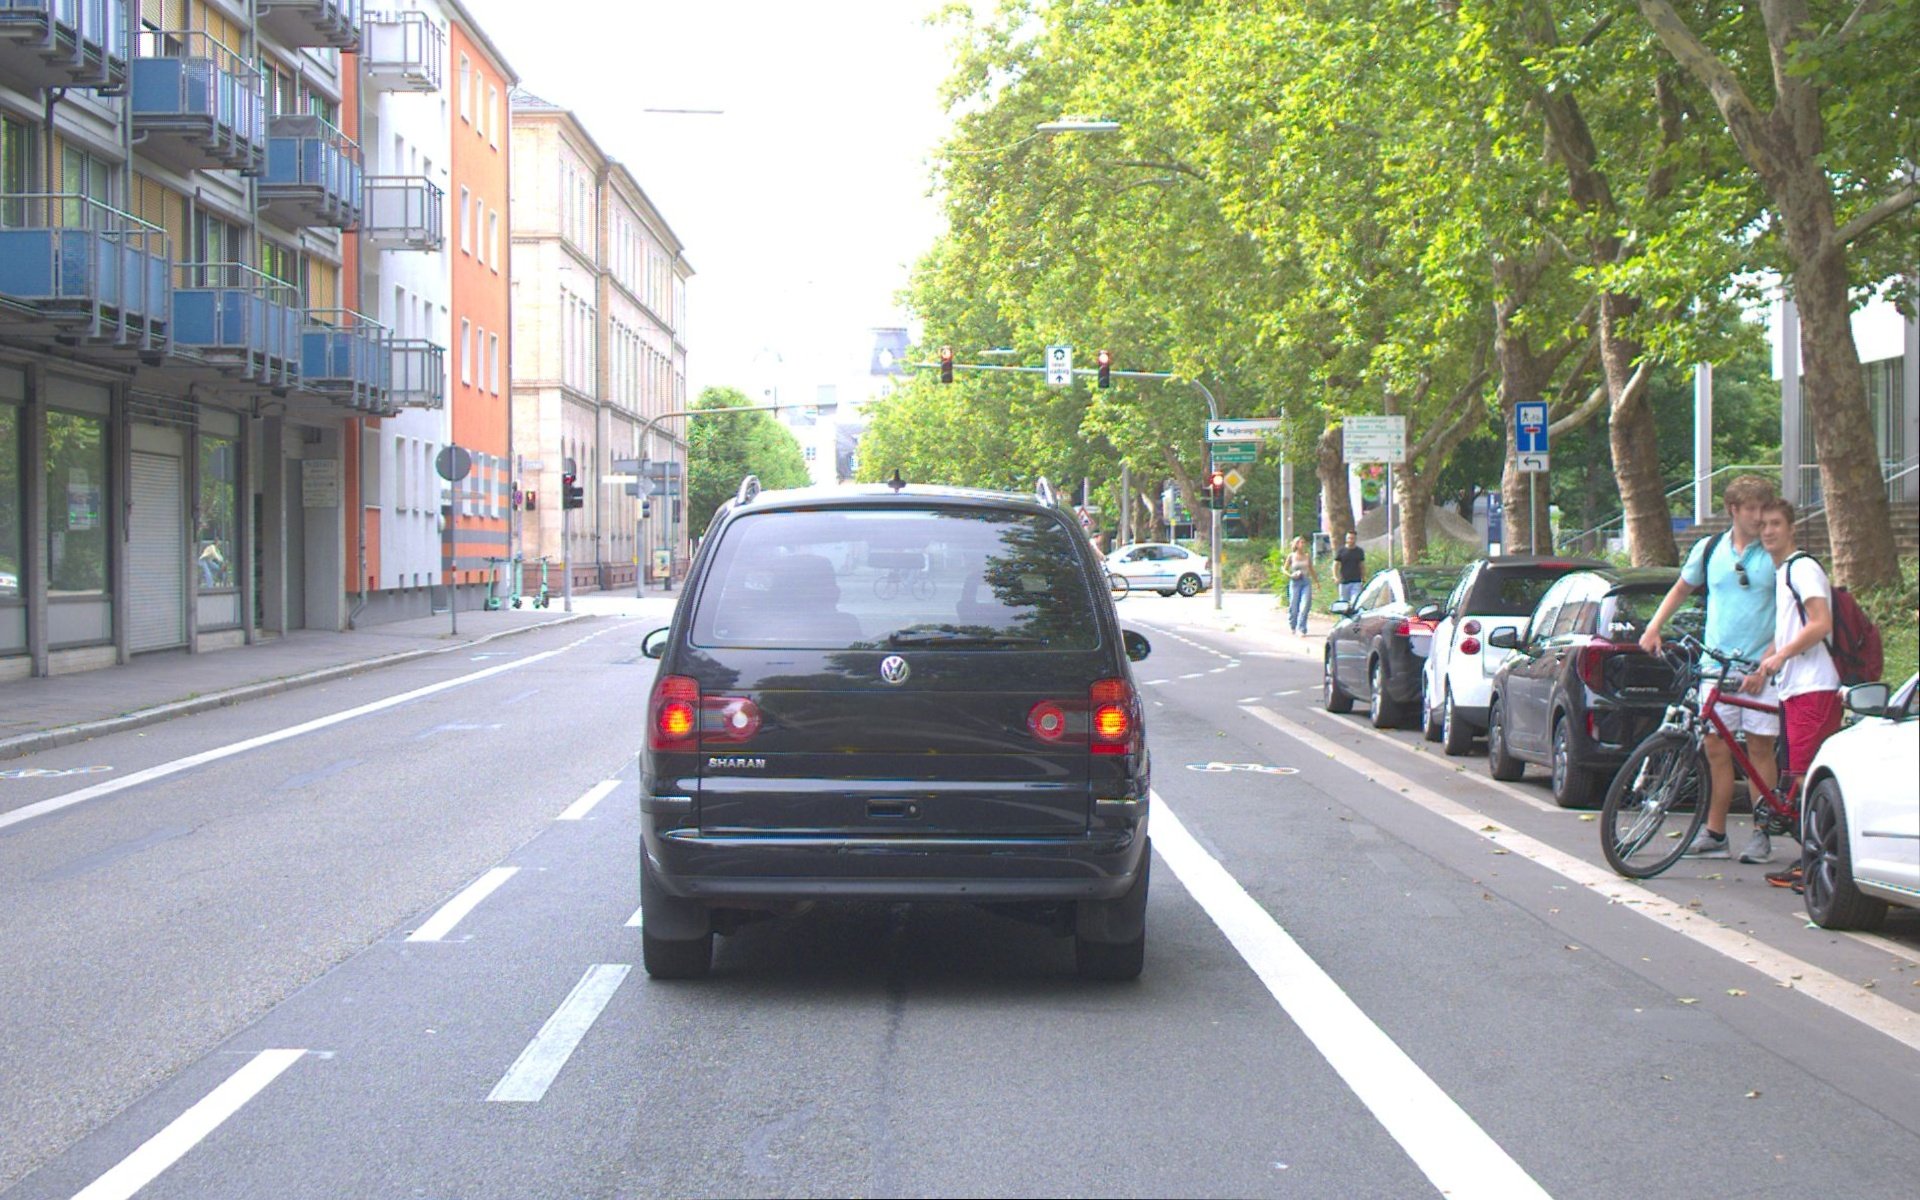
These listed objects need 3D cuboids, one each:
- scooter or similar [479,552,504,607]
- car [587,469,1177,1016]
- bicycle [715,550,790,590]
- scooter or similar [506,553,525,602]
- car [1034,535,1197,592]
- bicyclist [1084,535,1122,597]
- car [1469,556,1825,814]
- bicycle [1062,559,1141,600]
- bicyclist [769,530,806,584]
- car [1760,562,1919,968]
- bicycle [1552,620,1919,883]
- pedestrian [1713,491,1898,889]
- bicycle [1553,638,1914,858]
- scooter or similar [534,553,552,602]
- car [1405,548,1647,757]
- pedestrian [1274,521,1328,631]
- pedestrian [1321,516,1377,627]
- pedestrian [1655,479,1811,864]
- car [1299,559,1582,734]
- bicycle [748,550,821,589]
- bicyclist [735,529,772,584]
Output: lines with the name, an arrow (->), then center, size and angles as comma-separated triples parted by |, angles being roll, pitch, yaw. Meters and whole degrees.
scooter or similar -> -10.158, -0.435, 74.528 | 0.378, 1.179, 1.390 | 0, -1, -1
car -> -0.322, 0.411, 13.243 | 1.874, 1.739, 4.574 | 0, 1, -2
bicycle -> -5.550, -0.812, 91.922 | 1.924, 1.025, 0.583 | 1, 1, -10
scooter or similar -> -10.442, -0.526, 80.776 | 0.378, 1.143, 1.142 | 0, -1, -4
car -> 4.145, -0.982, 92.155 | 4.084, 1.422, 1.763 | -2, 1, -7
bicyclist -> 3.672, -0.877, 88.055 | 0.855, 1.562, 0.577 | 1, 0, -8
car -> 4.394, 0.486, 22.472 | 1.528, 1.497, 3.660 | 2, 1, 0
bicycle -> 3.625, -0.530, 88.053 | 1.924, 1.025, 0.583 | 1, 1, -9
bicyclist -> -4.715, -1.182, 93.789 | 0.914, 1.461, 0.570 | 1, 1, -10
car -> 4.486, 0.665, 12.816 | 1.680, 1.511, 4.545 | 2, 1, -3
bicycle -> 3.799, 0.720, 16.561 | 1.788, 1.213, 0.553 | 1, 1, -18
pedestrian -> 4.002, 0.411, 16.305 | 0.519, 1.839, 0.745 | 1, 1, -15
bicycle -> 4.016, 0.767, 17.870 | 1.734, 1.102, 0.552 | 1, 1, -11
scooter or similar -> -9.859, -0.537, 81.323 | 0.378, 1.140, 1.142 | 0, -1, -4
car -> 4.449, 0.380, 27.294 | 1.535, 1.538, 2.599 | 2, 1, 2
pedestrian -> 5.602, -0.400, 56.558 | 0.710, 1.777, 1.034 | -2, 0, -2
pedestrian -> 6.391, -0.473, 56.557 | 0.715, 1.794, 1.034 | -2, 0, -2
pedestrian -> 3.950, 0.354, 17.593 | 0.474, 1.928, 0.745 | 1, 1, -11
car -> 4.306, 0.373, 31.430 | 1.697, 1.420, 4.423 | 1, 1, -3
bicycle -> -4.790, -0.839, 93.779 | 1.924, 1.025, 0.583 | 1, 1, -10
bicyclist -> -5.523, -1.162, 91.921 | 0.914, 1.461, 0.570 | 1, 1, -11
